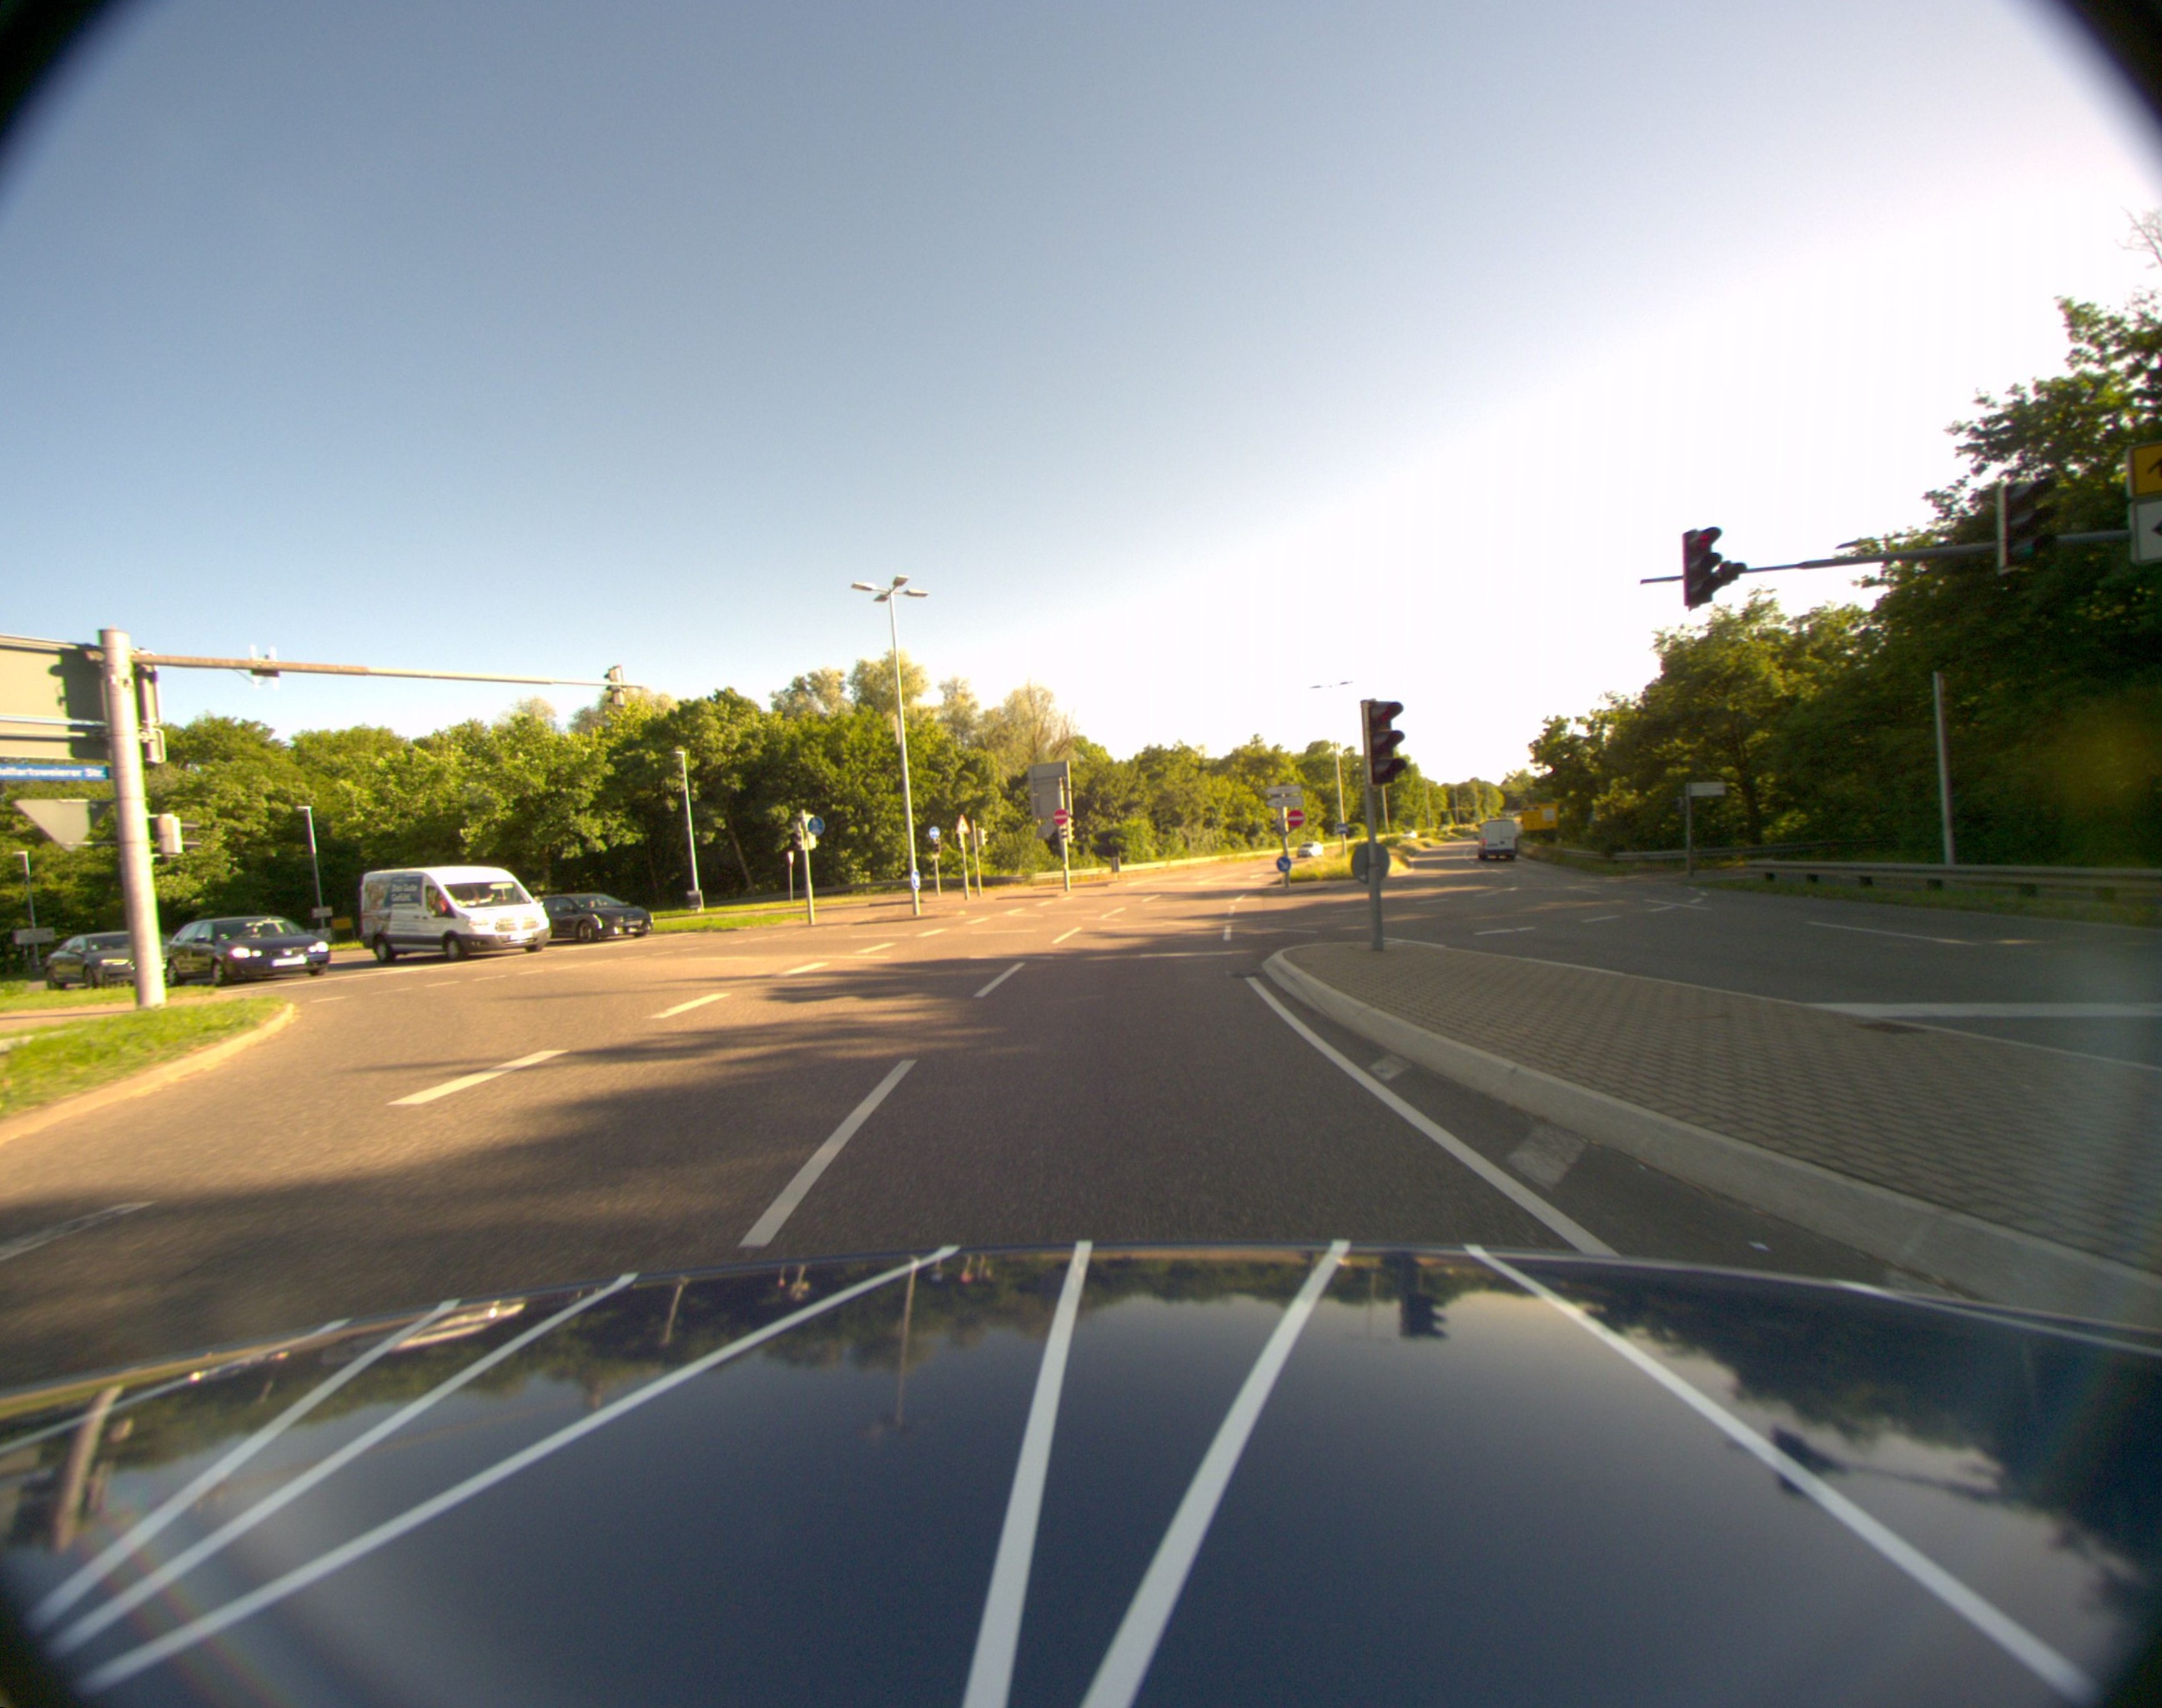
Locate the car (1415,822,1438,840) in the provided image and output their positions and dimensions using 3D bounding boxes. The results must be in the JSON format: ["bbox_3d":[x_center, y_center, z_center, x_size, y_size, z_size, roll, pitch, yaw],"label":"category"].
[{"bbox_3d":[40.812,-2.736,89.738,1.995,2.002,4.007,-2,0,32],"label":"car"}]

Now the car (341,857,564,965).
[{"bbox_3d":[-16.571,1.517,20.007,5.693,2.484,2.118,-4,0,24],"label":"car"}]

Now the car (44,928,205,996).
[{"bbox_3d":[-24.684,2.707,19.591,4.279,1.383,1.651,-2,1,26],"label":"car"}]

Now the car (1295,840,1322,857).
[{"bbox_3d":[21.930,-0.546,73.204,1.761,1.428,4.337,-2,0,26],"label":"car"}]

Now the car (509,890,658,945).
[{"bbox_3d":[-15.203,1.918,23.230,4.079,1.431,1.772,-2,0,23],"label":"car"}]

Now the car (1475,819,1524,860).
[{"bbox_3d":[27.546,-0.952,50.230,2.265,2.538,6.407,-1,1,24],"label":"car"}]

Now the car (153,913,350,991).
[{"bbox_3d":[-18.588,2.118,17.033,3.978,1.405,1.847,-2,0,26],"label":"car"}]
